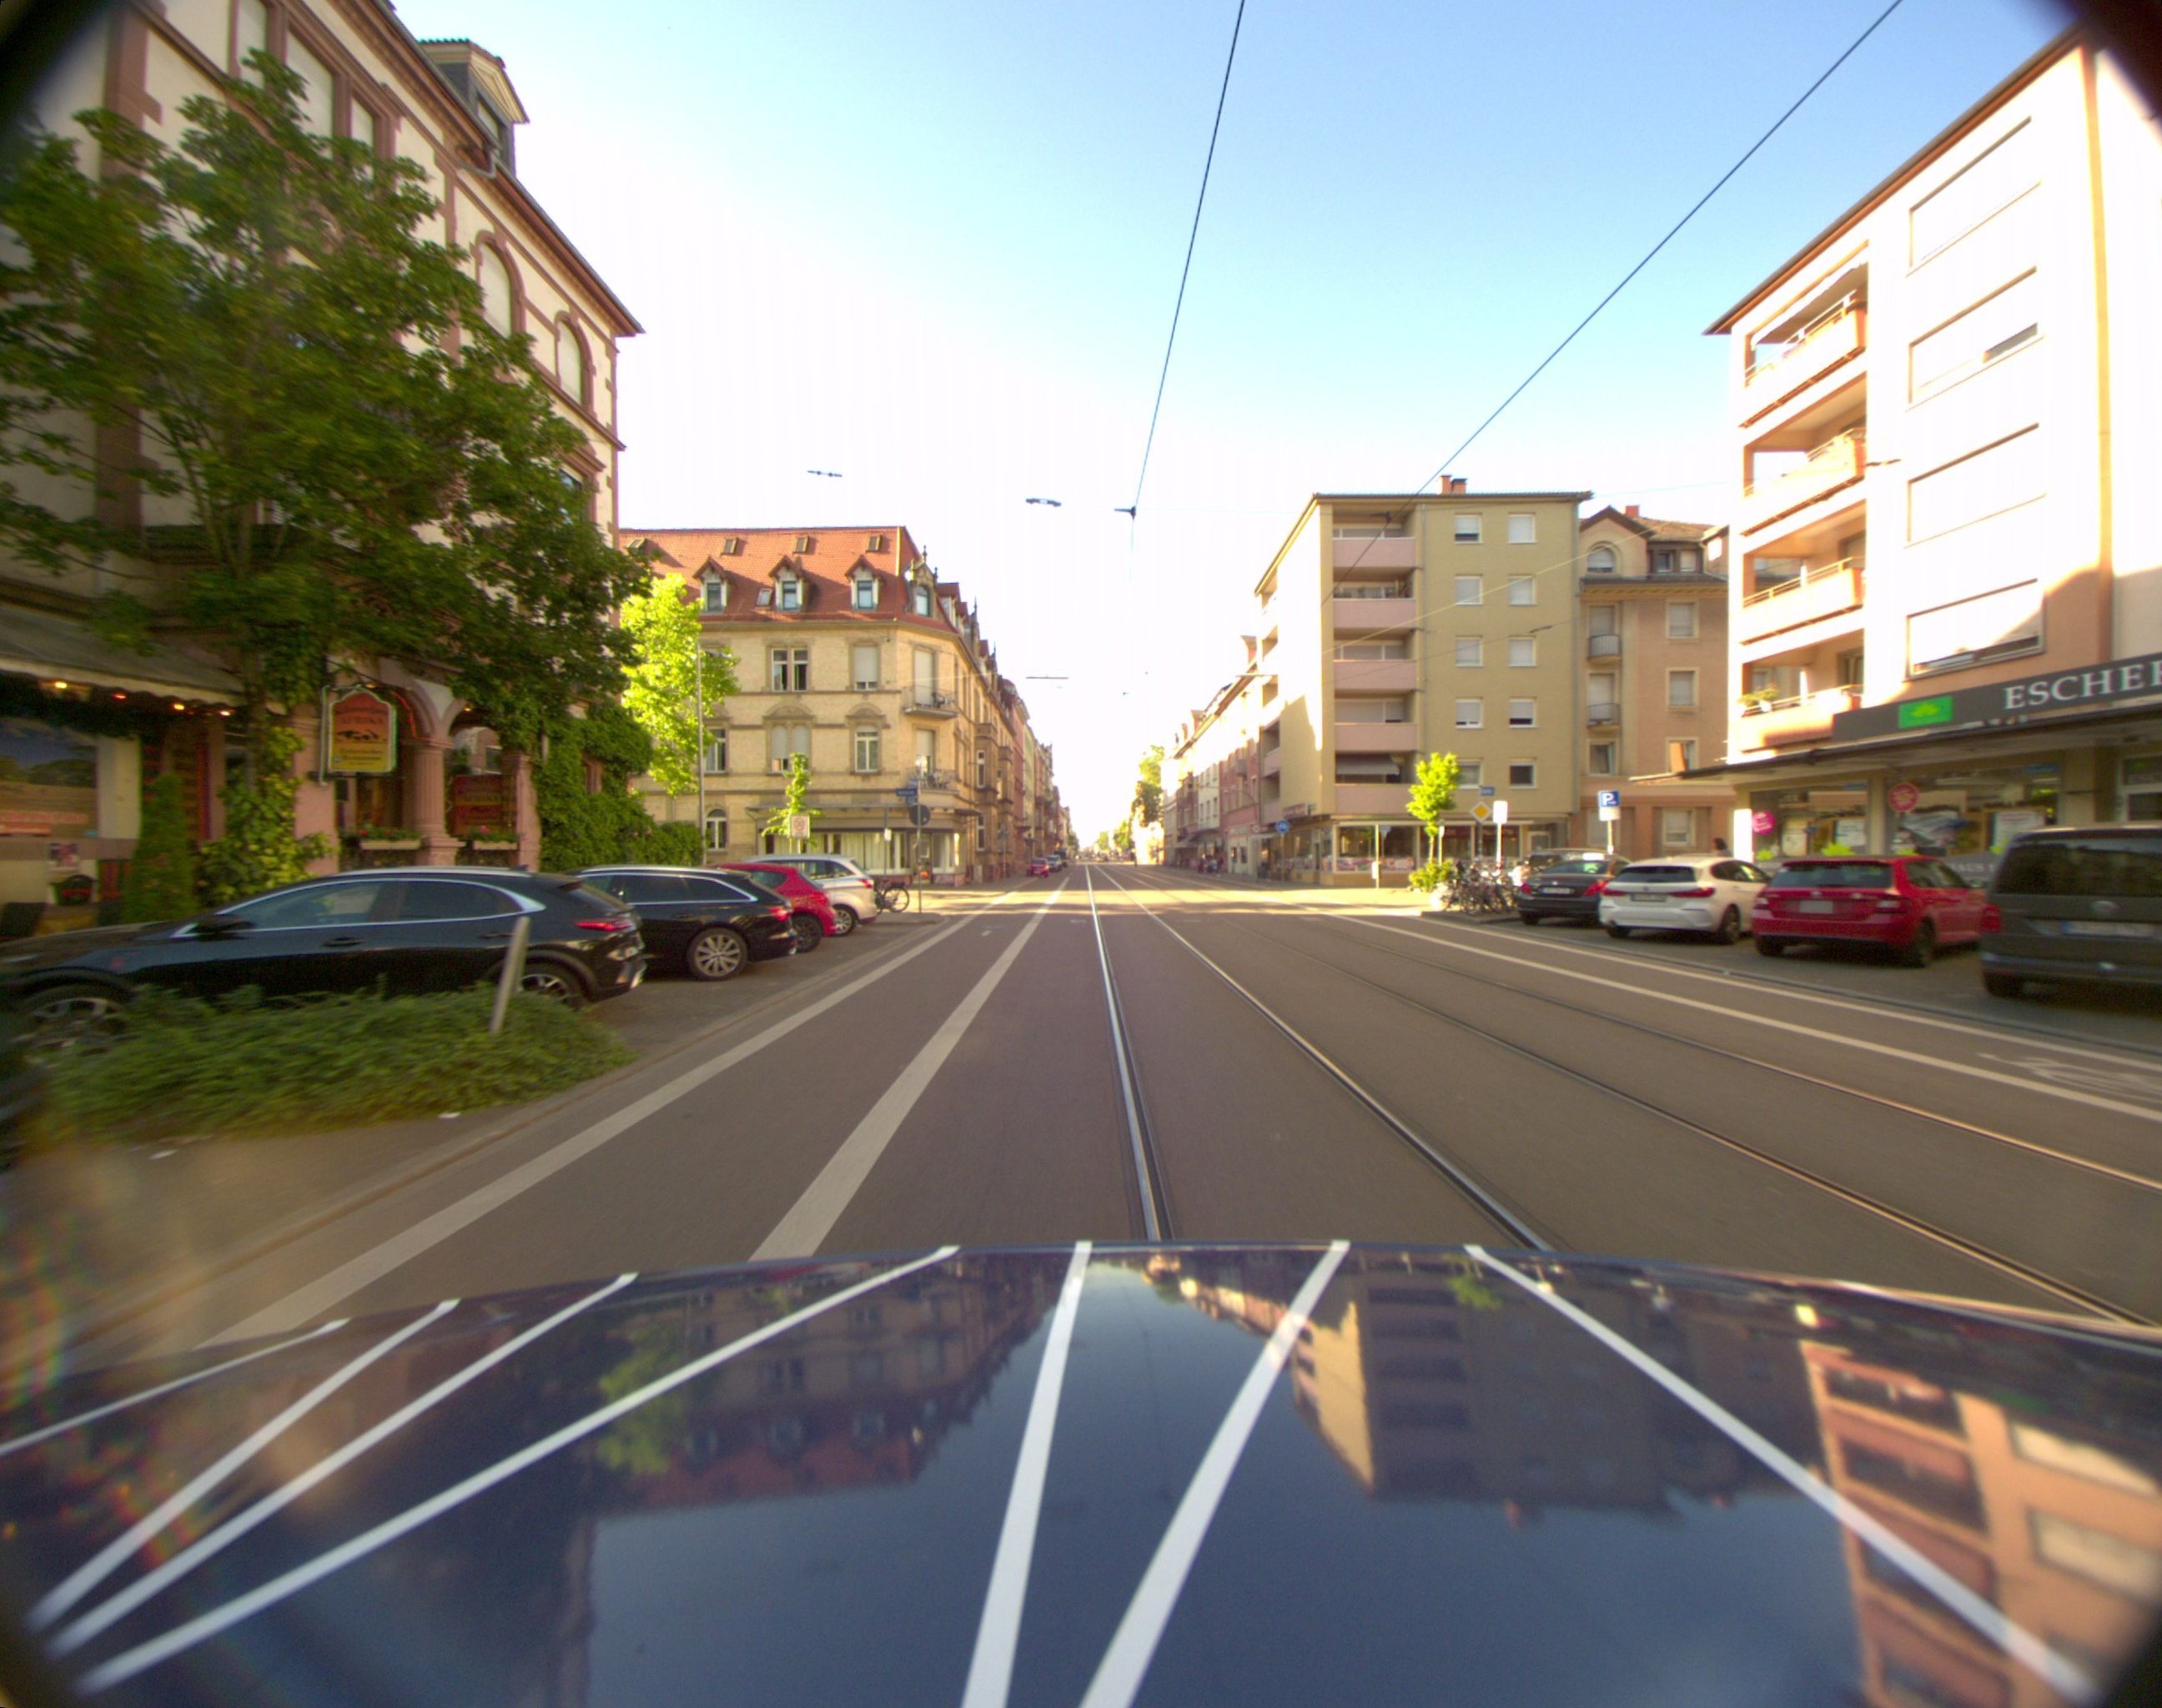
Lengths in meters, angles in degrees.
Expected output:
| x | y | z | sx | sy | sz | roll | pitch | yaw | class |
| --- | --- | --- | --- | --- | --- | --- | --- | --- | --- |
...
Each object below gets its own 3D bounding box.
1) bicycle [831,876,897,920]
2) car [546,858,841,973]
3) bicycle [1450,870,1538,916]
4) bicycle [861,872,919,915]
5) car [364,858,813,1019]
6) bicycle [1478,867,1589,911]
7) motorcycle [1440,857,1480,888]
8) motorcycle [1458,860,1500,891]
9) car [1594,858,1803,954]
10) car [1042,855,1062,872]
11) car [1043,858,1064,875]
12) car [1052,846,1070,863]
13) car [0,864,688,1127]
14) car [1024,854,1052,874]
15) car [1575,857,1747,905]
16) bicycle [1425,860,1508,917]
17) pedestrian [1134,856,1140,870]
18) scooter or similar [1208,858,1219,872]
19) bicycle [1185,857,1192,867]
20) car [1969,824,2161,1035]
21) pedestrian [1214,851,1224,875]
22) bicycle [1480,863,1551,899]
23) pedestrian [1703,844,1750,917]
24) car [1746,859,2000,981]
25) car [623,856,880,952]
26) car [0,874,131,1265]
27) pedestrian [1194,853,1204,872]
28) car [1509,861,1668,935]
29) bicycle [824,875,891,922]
| x | y | z | sx | sy | sz | roll | pitch | yaw | class |
| --- | --- | --- | --- | --- | --- | --- | --- | --- | --- |
| -5.392 | 1.091 | 18.919 | 1.559 | 1.073 | 0.307 | -1 | 1 | 7 | bicycle |
| -6.186 | 0.893 | 12.558 | 4.005 | 1.528 | 1.914 | -1 | 1 | -24 | car |
| 10.624 | 1.005 | 19.611 | 0.685 | 1.116 | 1.883 | 0 | -2 | -30 | bicycle |
| -5.171 | 1.065 | 20.646 | 1.400 | 1.120 | 0.551 | -1 | 1 | 1 | bicycle |
| -5.950 | 0.912 | 9.911 | 4.454 | 1.587 | 2.084 | -1 | 1 | -24 | car |
| 11.974 | 0.921 | 20.163 | 2.429 | 1.102 | 0.685 | -3 | -2 | 41 | bicycle |
| 15.939 | 0.770 | 32.041 | 0.621 | 1.202 | 2.176 | -1 | 1 | 1 | motorcycle |
| 16.735 | 0.894 | 32.015 | 0.621 | 1.202 | 2.176 | -1 | 1 | 1 | motorcycle |
| 11.036 | 0.824 | 13.533 | 3.798 | 1.392 | 1.750 | -2 | 1 | -32 | car |
| -3.012 | 0.955 | 78.348 | 1.871 | 1.637 | 4.399 | 3 | 0 | -4 | car |
| -3.039 | 1.366 | 84.345 | 1.998 | 1.606 | 4.785 | 3 | 1 | 0 | car |
| -2.929 | 0.033 | 111.054 | 2.128 | 2.478 | 5.856 | -1 | 1 | 2 | car |
| -5.933 | 0.951 | 6.673 | 4.338 | 1.587 | 2.041 | -2 | 1 | -27 | car |
| -3.379 | 0.778 | 60.573 | 1.870 | 1.474 | 4.400 | 2 | 1 | 0 | car |
| 18.784 | 0.925 | 24.801 | 1.852 | 1.383 | 3.992 | -1 | -3 | -30 | car |
| 9.498 | 0.832 | 18.857 | 0.683 | 1.311 | 2.435 | -1 | -2 | -3 | bicycle |
| 8.189 | 1.329 | 111.240 | 0.887 | 2.002 | 0.982 | 0 | 1 | -1 | pedestrian |
| 10.614 | 0.890 | 60.963 | 0.663 | 1.055 | 1.105 | -1 | 0 | 1 | scooter or similar |
| 11.837 | 0.870 | 83.556 | 0.425 | 1.053 | 2.329 | -1 | 1 | 0 | bicycle |
| 11.053 | 0.625 | 7.846 | 3.828 | 1.775 | 1.793 | -3 | 2 | -30 | car |
| 9.915 | 0.652 | 54.430 | 0.564 | 1.676 | 0.616 | -1 | 1 | -1 | pedestrian |
| 14.107 | 0.883 | 24.769 | 0.683 | 1.102 | 2.435 | -1 | -2 | -6 | bicycle |
| 15.026 | 0.605 | 17.698 | 0.570 | 1.643 | 0.641 | -1 | 1 | 1 | pedestrian |
| 11.340 | 0.825 | 10.860 | 3.476 | 1.464 | 1.645 | 0 | 0 | -28 | car |
| -6.399 | 0.878 | 15.097 | 4.371 | 1.587 | 1.850 | -1 | 1 | -24 | car |
| -6.176 | 0.939 | 2.052 | 4.005 | 1.587 | 1.955 | -1 | 1 | -24 | car |
| 9.601 | 0.665 | 61.744 | 0.637 | 1.540 | 0.623 | -1 | 1 | 0 | pedestrian |
| 10.975 | 0.864 | 16.380 | 3.477 | 1.330 | 1.620 | -2 | 1 | -33 | car |
| -5.462 | 1.090 | 18.594 | 1.563 | 1.120 | 0.295 | -1 | 1 | 7 | bicycle |
